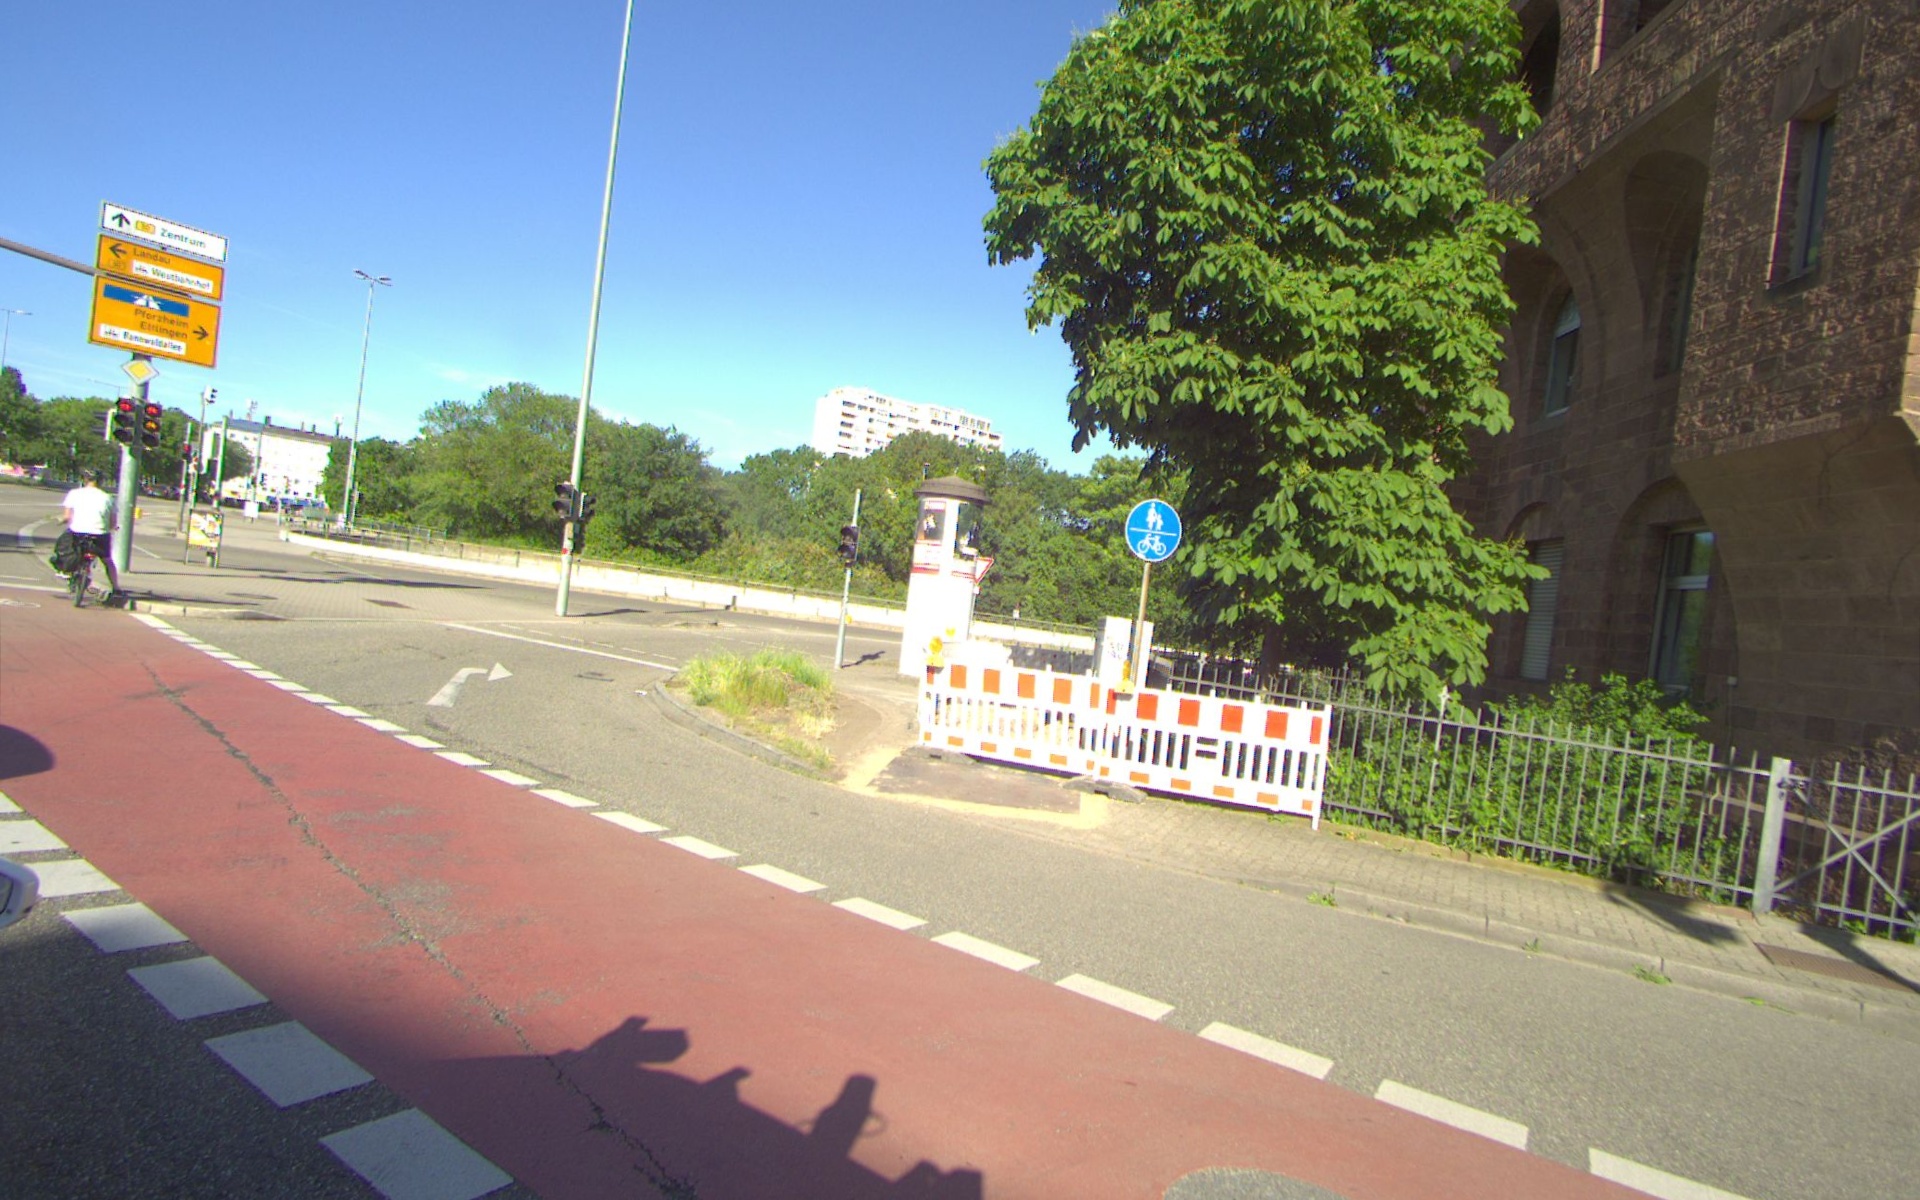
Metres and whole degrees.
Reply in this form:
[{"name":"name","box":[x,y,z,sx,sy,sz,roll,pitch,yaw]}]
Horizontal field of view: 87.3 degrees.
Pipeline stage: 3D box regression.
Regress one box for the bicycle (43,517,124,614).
[{"name":"bicycle","box":[-11.965,-0.494,13.715,0.689,1.115,1.804,8,0,-43]}]

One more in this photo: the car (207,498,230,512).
[{"name":"car","box":[-102.035,-13.070,138.443,1.930,1.547,4.065,7,0,-29]}]

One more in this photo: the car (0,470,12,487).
[{"name":"car","box":[-98.264,-12.481,102.416,1.927,1.642,4.458,7,1,-38]}]

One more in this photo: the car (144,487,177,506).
[{"name":"car","box":[-82.744,-10.662,104.158,1.931,1.547,4.064,7,0,-30]}]

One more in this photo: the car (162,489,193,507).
[{"name":"car","box":[-85.779,-11.128,110.359,1.930,1.547,4.065,7,0,-29]}]

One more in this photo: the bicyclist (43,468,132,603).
[{"name":"bicyclist","box":[-11.840,-0.879,13.644,0.722,1.680,1.099,8,1,-43]}]

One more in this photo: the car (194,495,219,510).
[{"name":"car","box":[-96.962,-12.473,129.463,1.930,1.547,4.065,7,0,-29]}]
